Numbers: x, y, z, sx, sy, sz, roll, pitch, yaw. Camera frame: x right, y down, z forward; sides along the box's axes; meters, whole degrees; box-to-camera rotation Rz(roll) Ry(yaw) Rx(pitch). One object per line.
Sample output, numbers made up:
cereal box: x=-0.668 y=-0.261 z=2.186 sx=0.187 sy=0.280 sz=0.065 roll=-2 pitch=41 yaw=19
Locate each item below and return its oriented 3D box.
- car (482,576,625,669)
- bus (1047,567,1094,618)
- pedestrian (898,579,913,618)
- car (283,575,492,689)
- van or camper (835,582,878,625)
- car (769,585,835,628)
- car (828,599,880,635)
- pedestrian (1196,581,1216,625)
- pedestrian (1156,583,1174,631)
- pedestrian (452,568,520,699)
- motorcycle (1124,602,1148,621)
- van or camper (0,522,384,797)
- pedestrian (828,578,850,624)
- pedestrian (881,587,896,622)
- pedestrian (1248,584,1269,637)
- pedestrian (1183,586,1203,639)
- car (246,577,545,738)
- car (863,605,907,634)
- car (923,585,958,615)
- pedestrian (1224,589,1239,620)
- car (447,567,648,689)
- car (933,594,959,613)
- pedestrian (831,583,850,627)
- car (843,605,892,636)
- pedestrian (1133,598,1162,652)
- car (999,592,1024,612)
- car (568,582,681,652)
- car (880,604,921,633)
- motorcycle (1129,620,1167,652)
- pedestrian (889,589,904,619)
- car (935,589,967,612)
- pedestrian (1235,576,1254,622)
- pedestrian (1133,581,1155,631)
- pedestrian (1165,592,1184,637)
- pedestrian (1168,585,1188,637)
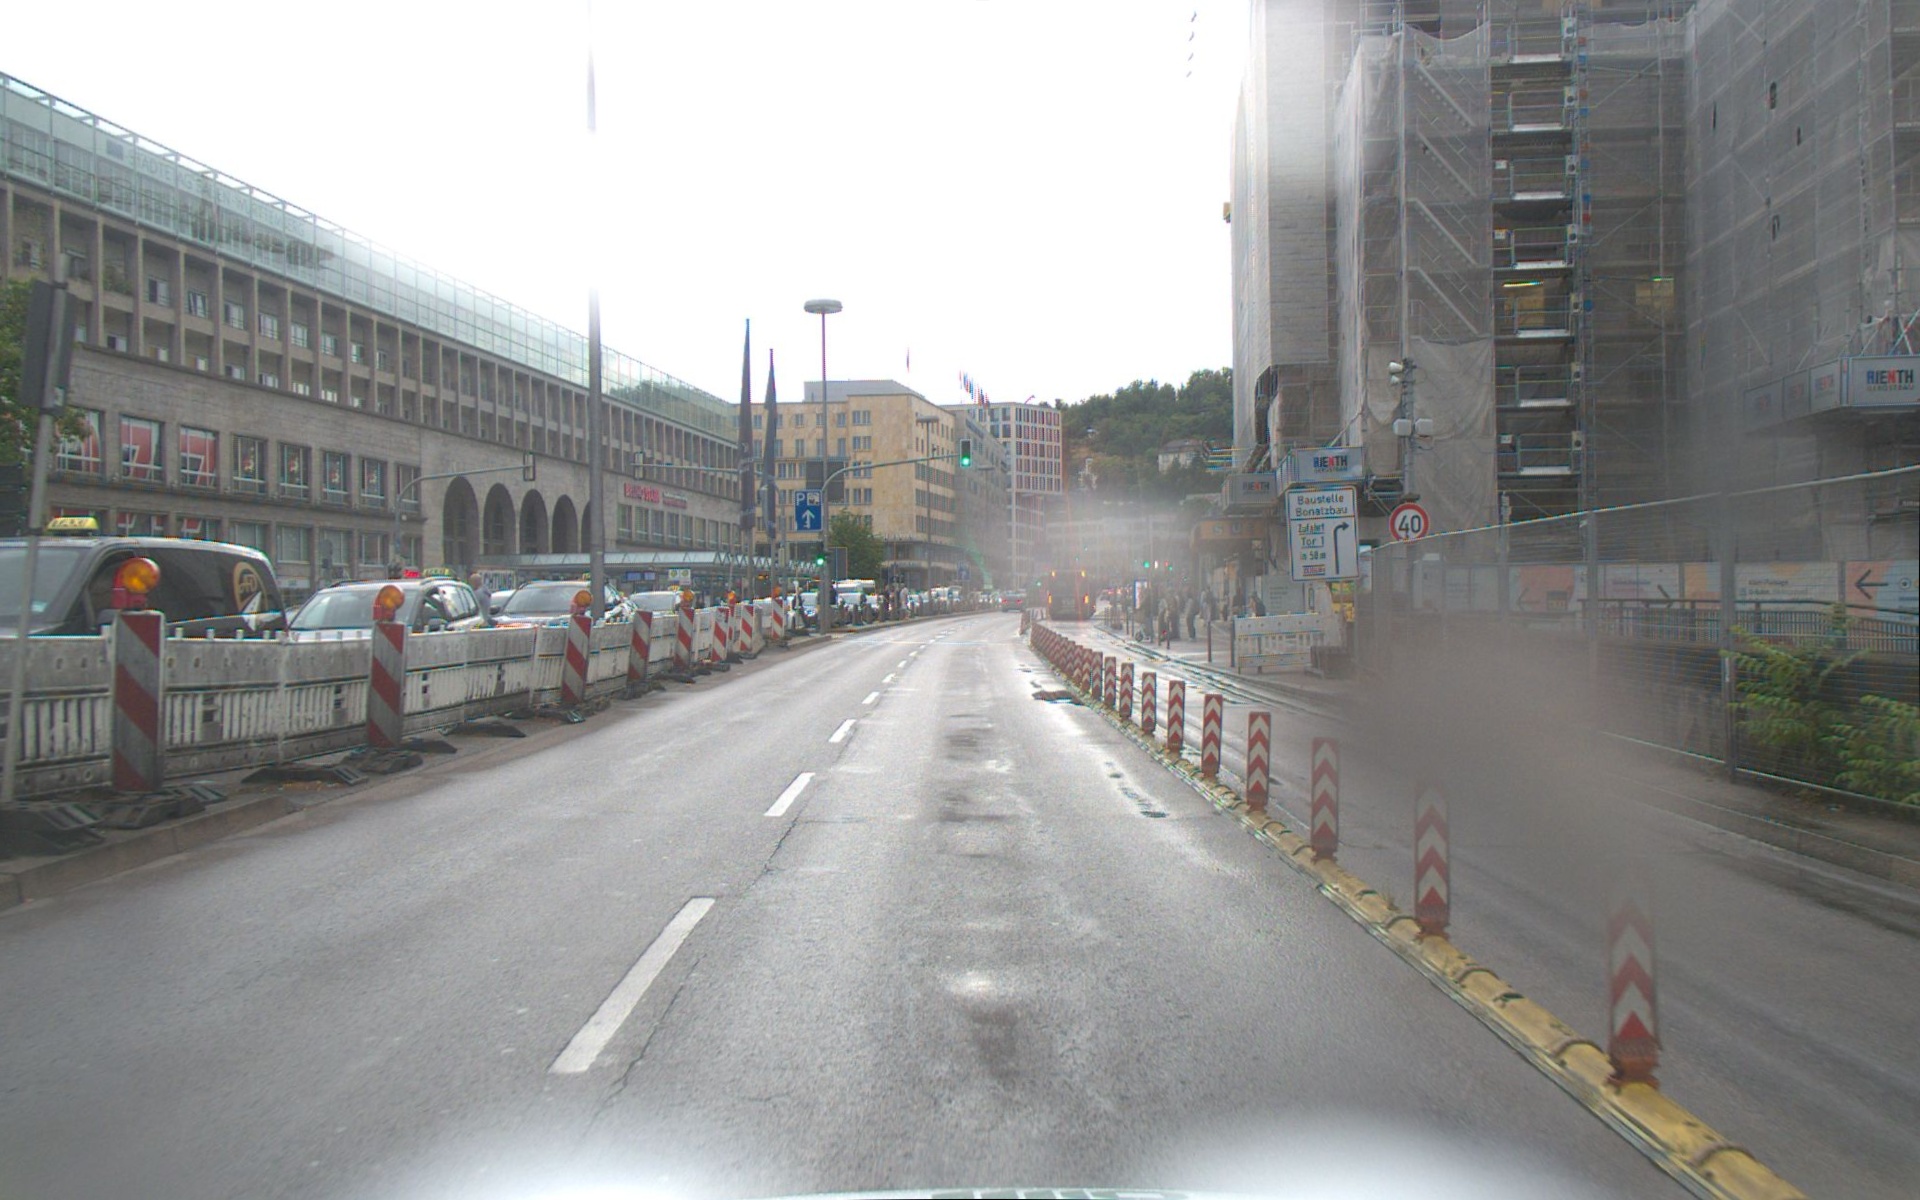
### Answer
car: x=-9.027 y=0.454 z=37.090 sx=1.863 sy=1.931 sz=4.525 roll=1 pitch=0 yaw=3
bus: x=7.244 y=-0.425 z=107.408 sx=2.697 sy=3.122 sz=9.086 roll=0 pitch=-1 yaw=6
pedestrian: x=-2.849 y=-0.070 z=86.480 sx=0.707 sy=2.043 sz=0.773 roll=0 pitch=0 yaw=5
car: x=-9.599 y=0.483 z=28.136 sx=1.746 sy=1.752 sz=4.485 roll=-1 pitch=0 yaw=3
van or camper: x=-6.624 y=0.217 z=106.336 sx=1.952 sy=2.558 sz=5.373 roll=-3 pitch=0 yaw=4
car: x=-6.397 y=0.245 z=67.429 sx=1.972 sy=1.649 sz=4.844 roll=-1 pitch=0 yaw=3
car: x=-5.377 y=0.884 z=84.505 sx=1.889 sy=1.720 sz=4.685 roll=-2 pitch=-1 yaw=5
pedestrian: x=10.803 y=0.122 z=72.743 sx=0.707 sy=1.880 sz=0.811 roll=-3 pitch=-1 yaw=5
pedestrian: x=7.330 y=0.254 z=59.159 sx=0.546 sy=1.669 sz=0.752 roll=-3 pitch=-1 yaw=6
pedestrian: x=-7.583 y=0.528 z=26.478 sx=0.857 sy=2.049 sz=0.821 roll=0 pitch=-1 yaw=-1
motorcycle: x=10.827 y=0.698 z=101.679 sx=0.577 sy=1.186 sz=1.606 roll=0 pitch=-1 yaw=44
van or camper: x=-6.868 y=0.406 z=13.905 sx=1.905 sy=1.851 sz=5.394 roll=1 pitch=0 yaw=3
pedestrian: x=-4.896 y=0.057 z=66.886 sx=0.767 sy=1.806 sz=0.606 roll=-3 pitch=-1 yaw=-7
pedestrian: x=-3.734 y=0.243 z=86.544 sx=0.684 sy=1.785 sz=0.712 roll=-1 pitch=0 yaw=5
pedestrian: x=9.534 y=0.332 z=52.796 sx=0.552 sy=1.679 sz=0.615 roll=-3 pitch=-1 yaw=10
pedestrian: x=7.677 y=0.412 z=54.459 sx=0.546 sy=1.679 sz=0.615 roll=-3 pitch=-1 yaw=6
car: x=-7.057 y=0.639 z=21.304 sx=1.952 sy=1.801 sz=4.813 roll=-1 pitch=0 yaw=3
car: x=-4.404 y=1.147 z=97.602 sx=1.889 sy=1.604 sz=5.015 roll=-2 pitch=-1 yaw=5
car: x=-1.469 y=-0.020 z=126.409 sx=1.951 sy=2.217 sz=5.548 roll=-1 pitch=0 yaw=7
pedestrian: x=13.798 y=0.226 z=84.200 sx=0.637 sy=1.566 sz=0.665 roll=-3 pitch=-1 yaw=6
car: x=-6.881 y=0.418 z=28.176 sx=1.952 sy=1.849 sz=4.813 roll=-1 pitch=0 yaw=3
car: x=-1.231 y=0.309 z=144.700 sx=1.952 sy=1.579 sz=4.002 roll=-1 pitch=-1 yaw=3
pedestrian: x=-4.798 y=0.199 z=66.474 sx=0.637 sy=1.741 sz=0.593 roll=1 pitch=0 yaw=4
car: x=-5.065 y=1.123 z=91.112 sx=1.889 sy=1.604 sz=5.264 roll=-2 pitch=-1 yaw=5
pedestrian: x=6.260 y=0.838 z=55.273 sx=0.575 sy=1.771 sz=0.811 roll=0 pitch=-1 yaw=-37
car: x=4.253 y=0.207 z=137.499 sx=1.952 sy=1.579 sz=4.000 roll=-1 pitch=-1 yaw=1
car: x=-8.817 y=0.414 z=43.865 sx=1.863 sy=1.729 sz=4.502 roll=1 pitch=0 yaw=3
car: x=-3.692 y=1.163 z=103.718 sx=1.935 sy=1.688 sz=5.195 roll=-2 pitch=-1 yaw=5
motorcycle: x=6.273 y=1.201 z=55.258 sx=0.580 sy=1.039 sz=1.223 roll=0 pitch=0 yaw=-37
pedestrian: x=-3.466 y=0.227 z=90.150 sx=0.707 sy=1.635 sz=0.996 roll=1 pitch=0 yaw=5
car: x=-0.687 y=0.050 z=131.724 sx=1.951 sy=1.752 sz=4.785 roll=-1 pitch=0 yaw=7
pedestrian: x=10.533 y=-0.053 z=61.279 sx=0.538 sy=1.660 sz=0.996 roll=-3 pitch=-1 yaw=5
pedestrian: x=6.710 y=0.222 z=60.401 sx=0.547 sy=1.789 sz=0.750 roll=-3 pitch=-1 yaw=-8
pedestrian: x=7.294 y=0.496 z=56.250 sx=0.546 sy=1.474 sz=0.712 roll=-3 pitch=-1 yaw=6
pedestrian: x=7.563 y=0.382 z=57.396 sx=0.546 sy=1.782 sz=0.712 roll=-3 pitch=-1 yaw=6
